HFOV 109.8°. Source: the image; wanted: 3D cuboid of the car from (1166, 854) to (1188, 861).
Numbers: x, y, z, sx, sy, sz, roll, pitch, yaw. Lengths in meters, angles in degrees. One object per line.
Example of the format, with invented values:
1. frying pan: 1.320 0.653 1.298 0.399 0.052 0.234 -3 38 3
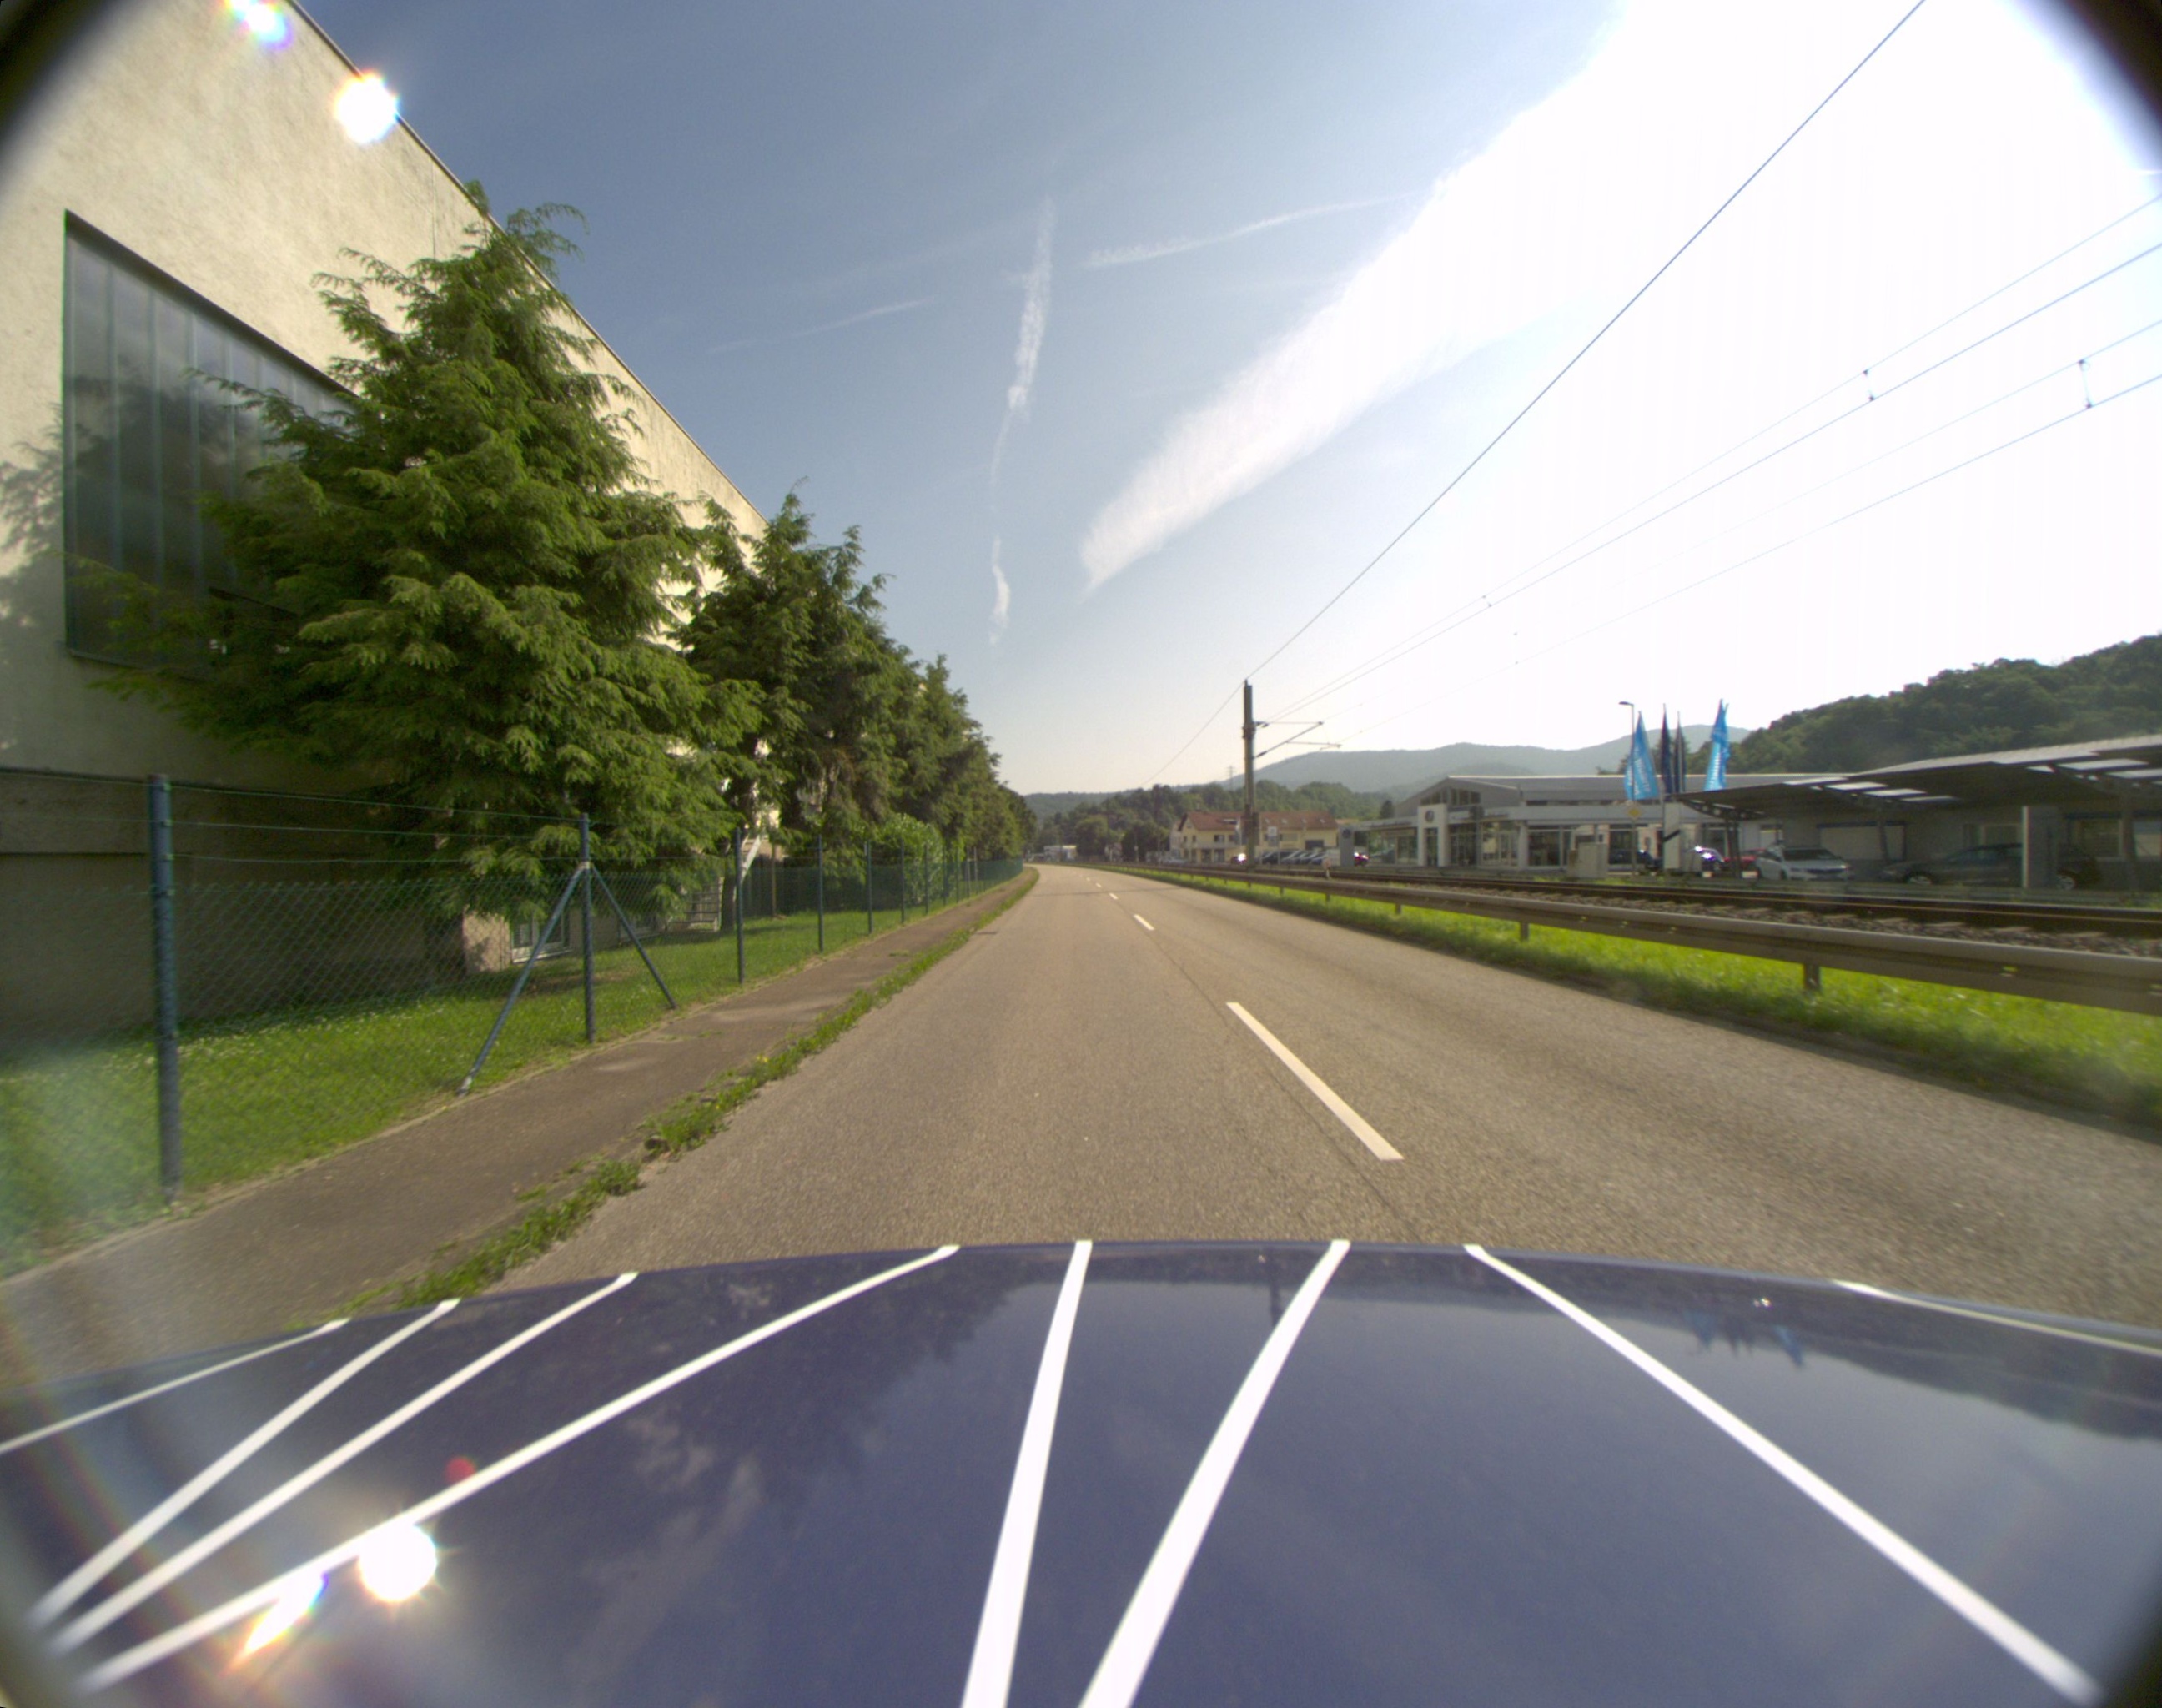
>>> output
1. car: 18.198 0.701 143.687 3.858 1.292 1.647 -1 0 -8

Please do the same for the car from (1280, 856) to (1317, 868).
1. car: 26.384 0.953 92.294 3.998 1.451 1.760 -1 0 -3

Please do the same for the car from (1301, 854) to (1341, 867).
1. car: 27.056 0.727 85.646 3.998 1.451 1.760 -1 0 -3

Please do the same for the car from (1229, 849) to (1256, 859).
1. car: 25.149 0.030 117.959 4.007 1.451 1.856 0 0 -35

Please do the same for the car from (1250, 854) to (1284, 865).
1. car: 24.712 0.751 101.002 3.998 1.451 1.760 -1 0 -3

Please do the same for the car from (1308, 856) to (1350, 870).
1. car: 26.842 0.948 82.405 4.002 1.451 1.758 0 0 -14

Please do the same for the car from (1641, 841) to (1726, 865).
1. car: 36.357 -0.062 45.903 3.999 1.412 1.619 -1 0 -5

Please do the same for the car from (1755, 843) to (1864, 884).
1. car: 26.840 0.311 28.172 1.842 1.377 4.531 -1 0 29

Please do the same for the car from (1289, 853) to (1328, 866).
1. car: 26.620 0.614 88.871 3.998 1.451 1.760 -1 0 -3

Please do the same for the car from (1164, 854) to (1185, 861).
1. car: 17.995 0.656 146.309 3.858 1.292 1.647 -1 0 -8

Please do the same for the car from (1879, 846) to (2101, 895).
1. car: 27.244 0.455 23.011 1.851 1.334 4.196 -1 0 -42

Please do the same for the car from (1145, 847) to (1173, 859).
1. car: 16.781 -0.273 162.601 5.588 2.403 2.235 -1 0 -6

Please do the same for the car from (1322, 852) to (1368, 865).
1. car: 27.084 0.460 77.953 4.000 1.367 1.860 0 0 -8

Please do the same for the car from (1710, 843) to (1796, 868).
1. car: 40.915 0.089 46.321 3.999 1.412 1.619 -1 0 -5
